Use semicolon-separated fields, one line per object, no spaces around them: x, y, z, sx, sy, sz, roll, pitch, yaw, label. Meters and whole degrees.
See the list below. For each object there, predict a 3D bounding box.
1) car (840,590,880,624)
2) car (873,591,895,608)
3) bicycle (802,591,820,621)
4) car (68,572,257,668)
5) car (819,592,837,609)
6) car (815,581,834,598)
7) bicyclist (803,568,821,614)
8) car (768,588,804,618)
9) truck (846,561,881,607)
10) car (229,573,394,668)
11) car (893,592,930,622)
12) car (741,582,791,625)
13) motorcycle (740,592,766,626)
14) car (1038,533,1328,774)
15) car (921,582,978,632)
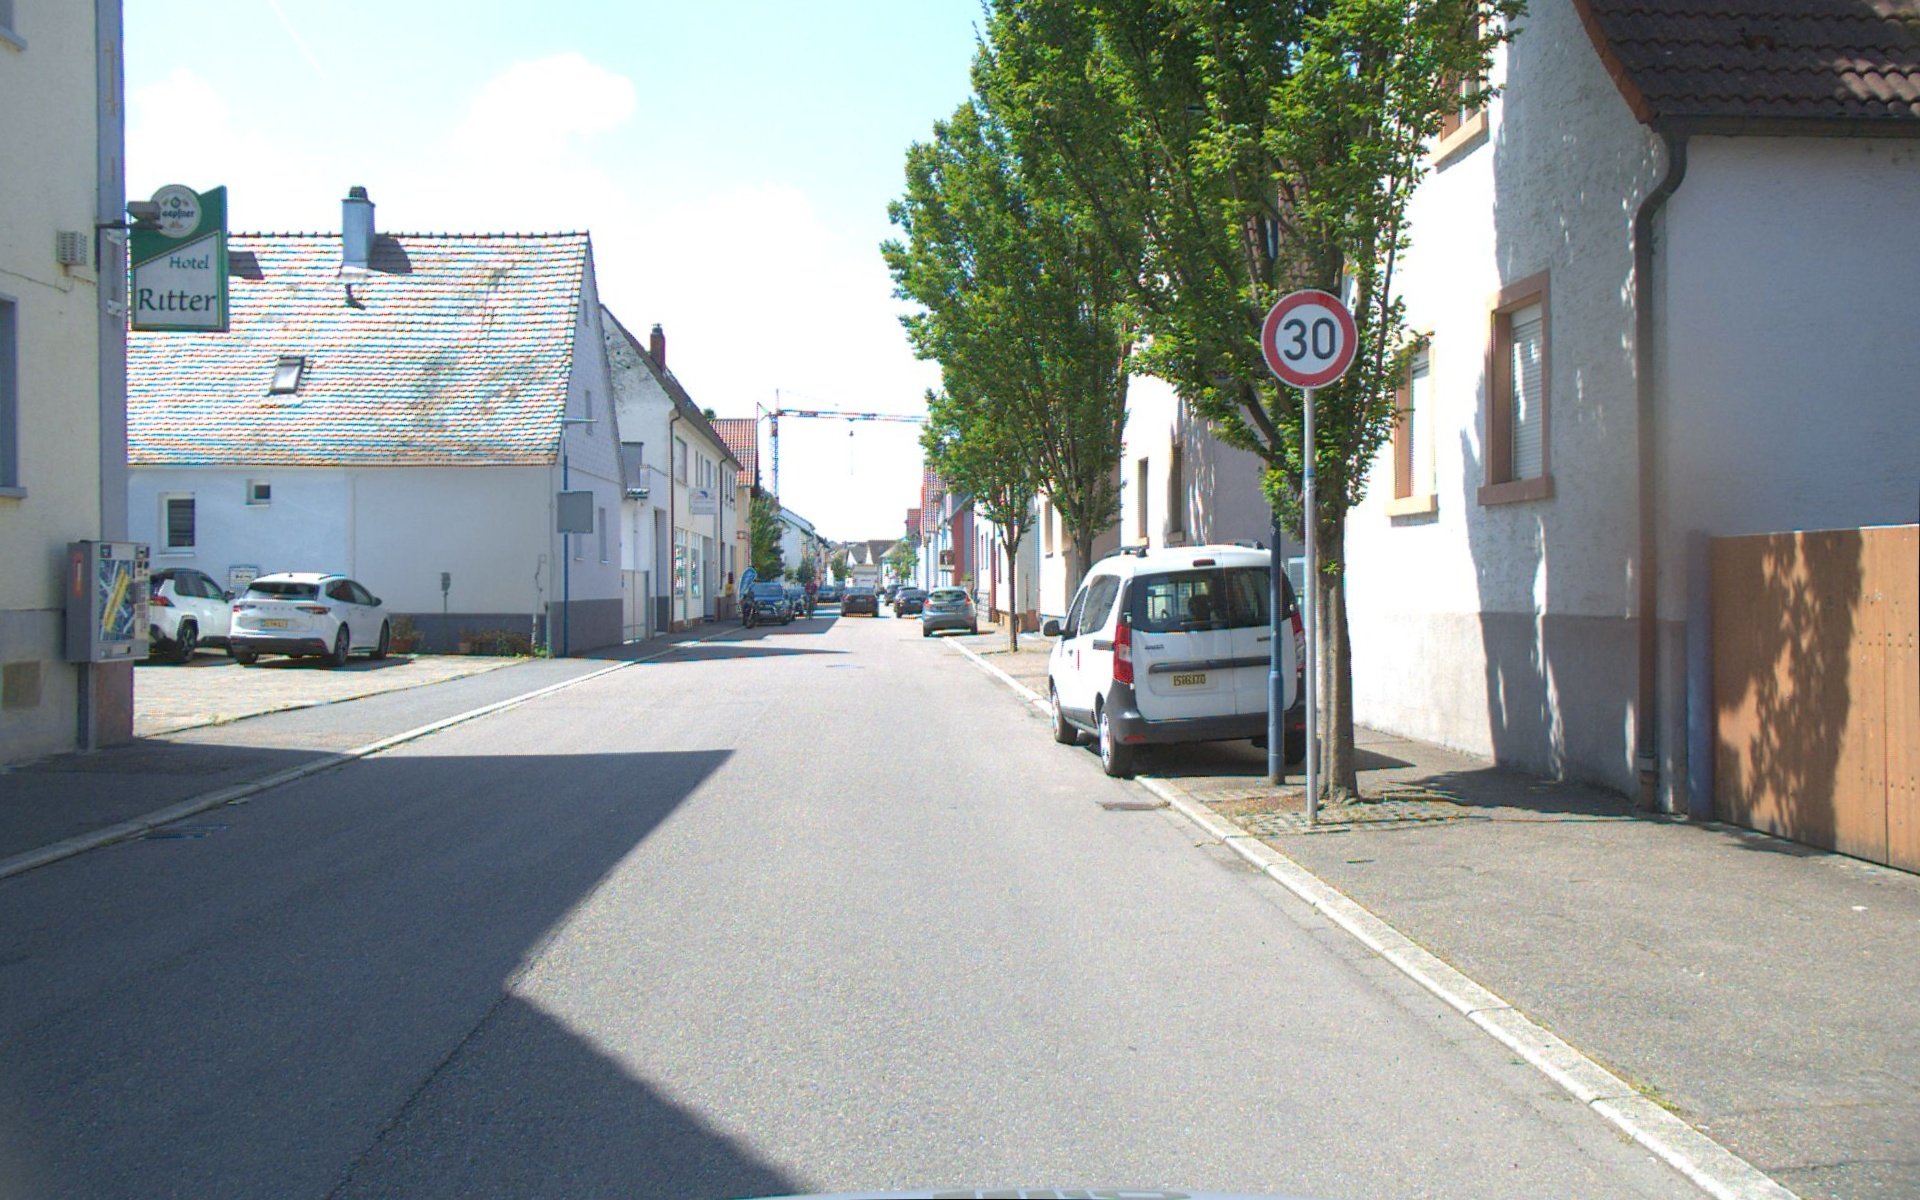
-4.862;0.304;81.124;1.864;1.591;4.474;0;1;-2;car
-5.909;-0.074;128.626;1.685;1.291;4.154;0;0;-3;car
-6.766;0.266;75.391;0.736;1.330;2.683;1;0;-4;bicycle
-14.441;0.328;30.194;1.686;1.583;4.194;1;0;-5;car
-13.307;0.059;166.850;1.773;1.617;3.997;0;0;-4;car
-13.126;-0.973;160.189;1.773;1.617;3.997;0;0;-4;car
-6.758;-0.402;75.460;0.725;2.095;0.843;1;0;-4;bicyclist
-9.487;0.151;90.321;1.773;1.617;3.997;0;0;-4;car
-9.368;-1.525;161.323;3.082;4.325;9.298;1;0;-2;truck
-11.859;0.340;30.517;1.686;1.583;4.194;1;0;-5;car
-2.357;0.308;79.855;1.685;1.379;4.154;0;0;-3;car
-7.640;0.122;65.355;1.773;1.617;3.997;0;0;-4;car
-7.711;0.333;61.579;0.829;1.190;2.467;1;0;-5;motorcycle
1.843;0.398;14.937;1.686;1.821;4.139;-2;1;-5;car
-0.359;0.185;51.558;1.685;1.487;4.155;0;0;-2;car
